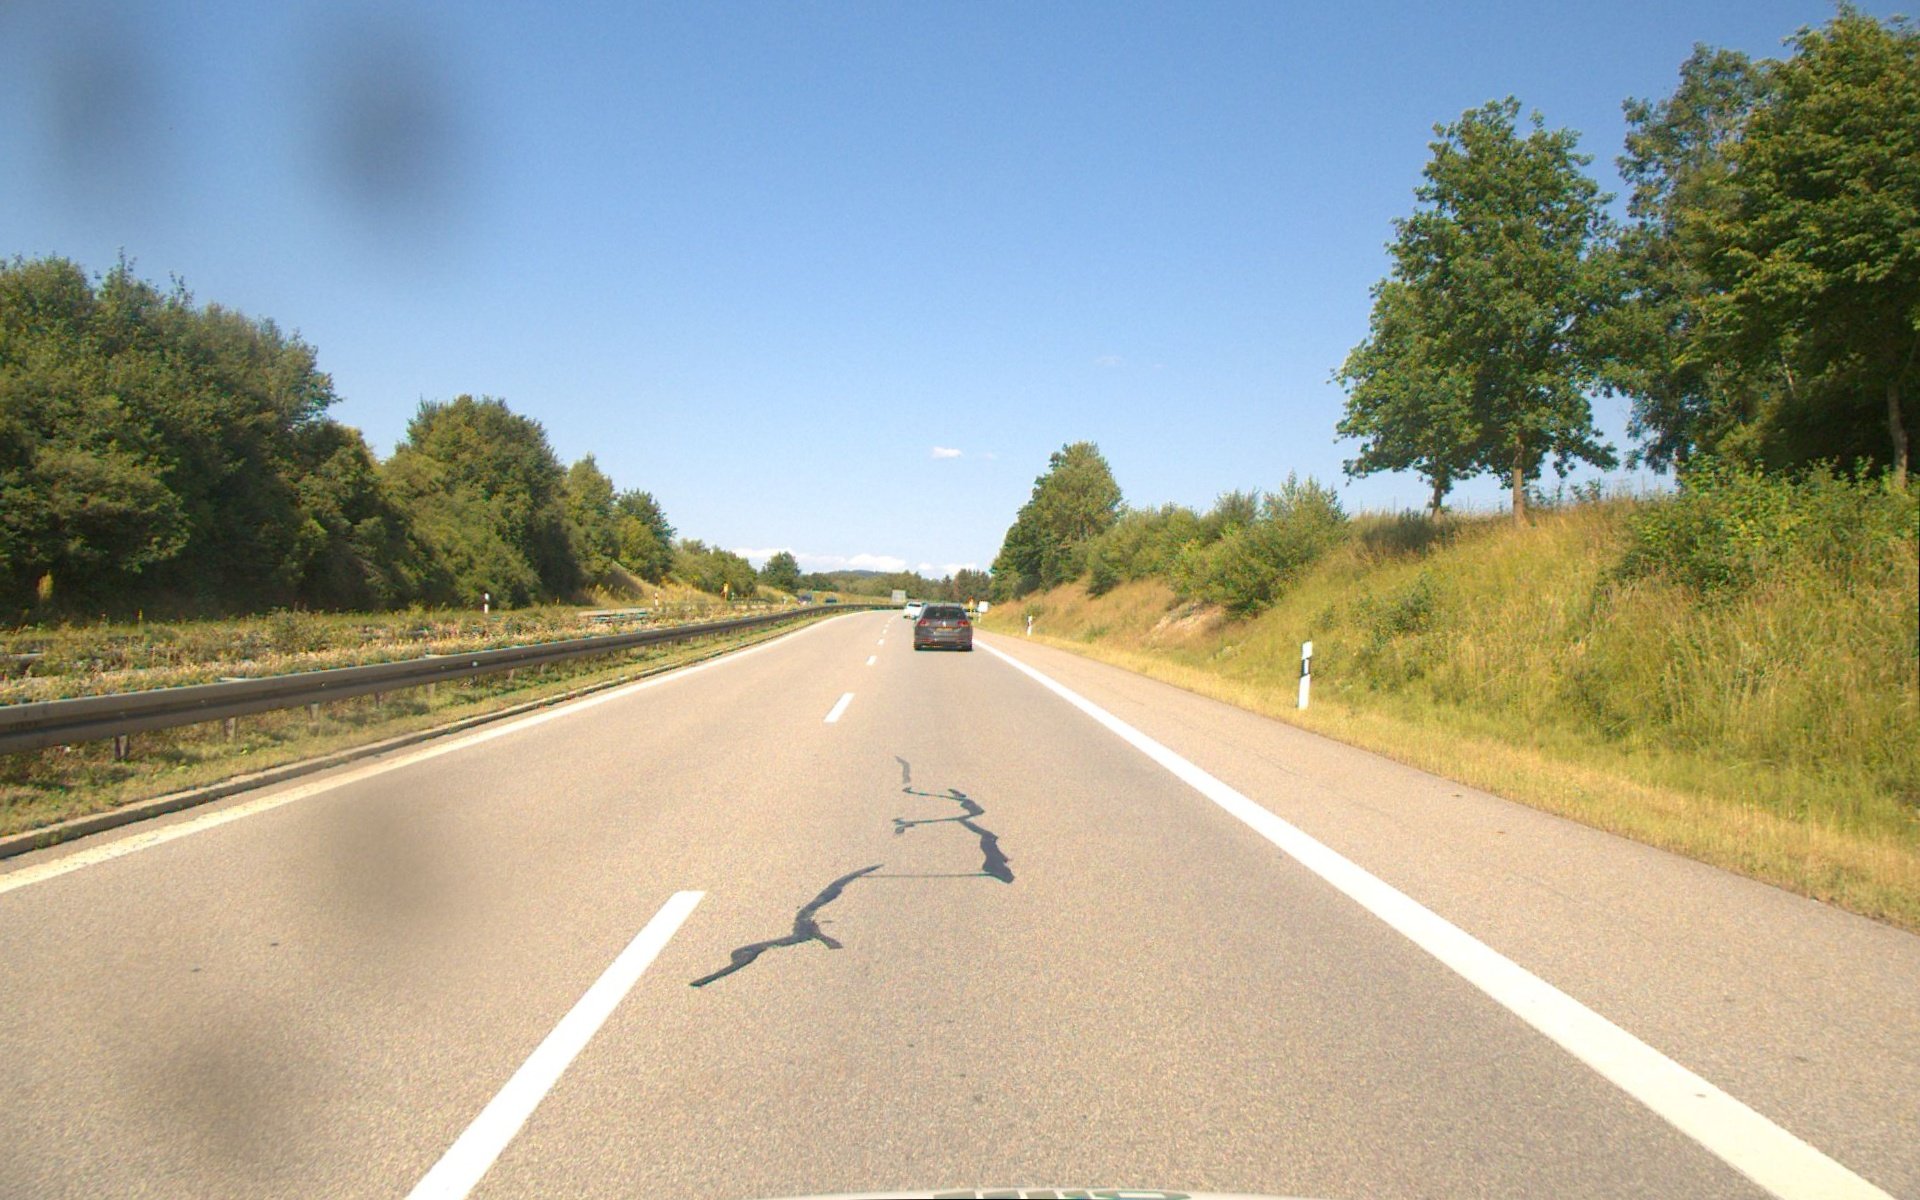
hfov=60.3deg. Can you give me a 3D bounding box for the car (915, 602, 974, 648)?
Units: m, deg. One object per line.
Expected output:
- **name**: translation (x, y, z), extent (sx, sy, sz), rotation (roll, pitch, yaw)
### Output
- **car**: translation (-0.498, 0.755, 51.257), extent (1.754, 1.368, 3.999), rotation (1, 0, -1)

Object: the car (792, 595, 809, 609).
- **car**: translation (-19.788, 0.238, 204.770), extent (1.732, 1.612, 4.790), rotation (3, 0, -2)

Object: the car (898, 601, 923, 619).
- **car**: translation (-4.341, 0.870, 144.742), extent (1.968, 1.367, 3.996), rotation (6, -1, -4)
